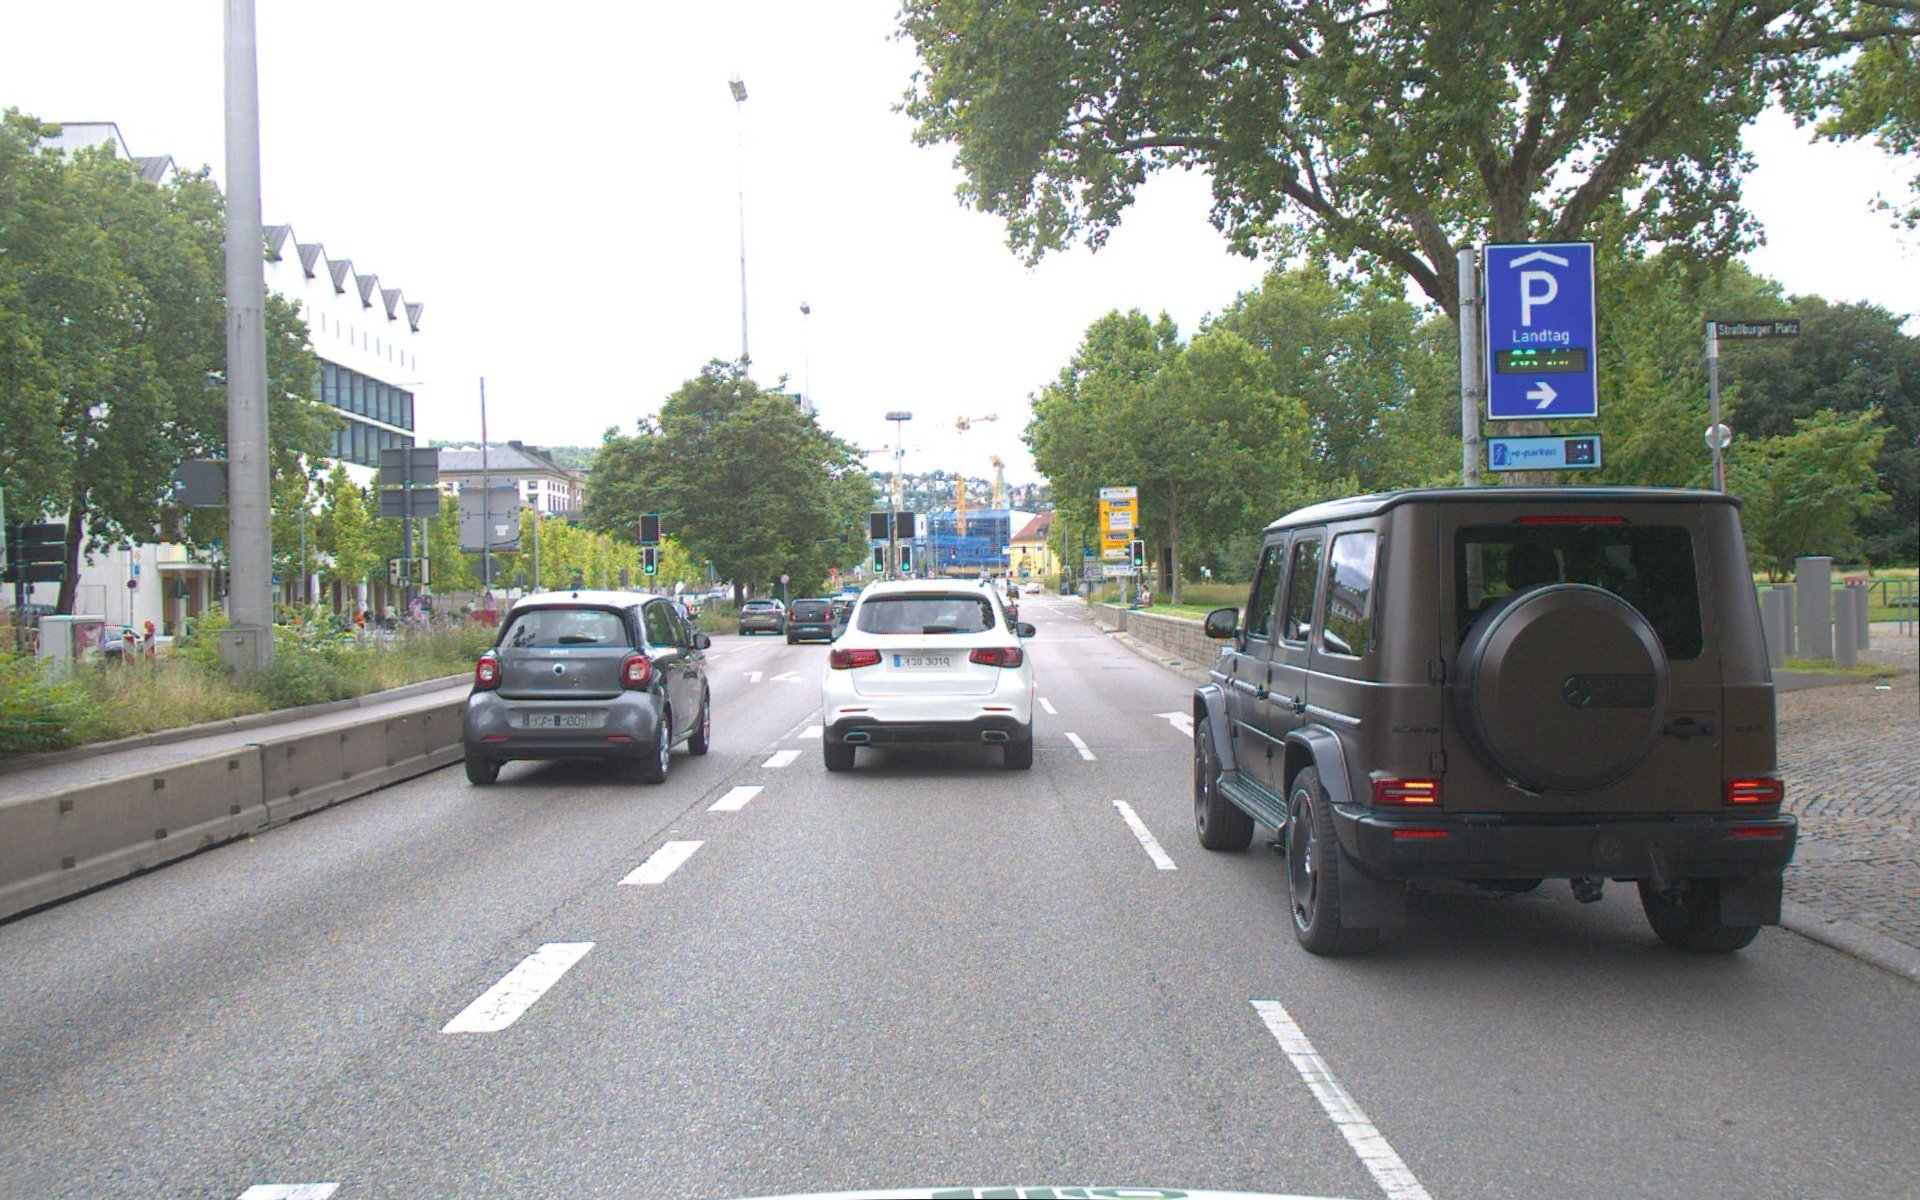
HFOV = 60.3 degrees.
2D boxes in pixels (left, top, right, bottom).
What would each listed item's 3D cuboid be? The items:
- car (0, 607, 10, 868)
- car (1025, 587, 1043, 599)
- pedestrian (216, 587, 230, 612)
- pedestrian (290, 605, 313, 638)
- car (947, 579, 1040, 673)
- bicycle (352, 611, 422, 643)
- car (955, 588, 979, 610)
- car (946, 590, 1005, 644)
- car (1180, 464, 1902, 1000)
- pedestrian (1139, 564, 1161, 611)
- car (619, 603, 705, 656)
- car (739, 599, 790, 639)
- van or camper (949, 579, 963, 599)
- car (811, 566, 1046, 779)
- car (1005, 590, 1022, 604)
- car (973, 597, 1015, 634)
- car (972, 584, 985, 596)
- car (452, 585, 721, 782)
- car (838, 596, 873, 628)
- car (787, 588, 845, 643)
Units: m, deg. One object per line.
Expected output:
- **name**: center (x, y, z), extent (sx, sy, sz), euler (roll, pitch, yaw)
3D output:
- **car**: center (-6.288, 0.754, 7.025), extent (1.775, 1.486, 4.861), euler (0, -1, -1)
- **car**: center (9.991, -0.944, 223.311), extent (1.955, 1.646, 3.996), euler (1, -1, -5)
- **pedestrian**: center (-41.100, -0.025, 92.268), extent (0.508, 1.350, 0.565), euler (-2, -2, 0)
- **pedestrian**: center (-32.613, 1.054, 81.858), extent (0.875, 1.584, 0.589), euler (-1, 0, -43)
- **car**: center (0.613, 0.507, 31.607), extent (1.638, 1.656, 4.000), euler (1, -1, 0)
- **bicycle**: center (-32.710, 1.539, 94.421), extent (3.540, 1.713, 1.182), euler (-2, 0, -2)
- **car**: center (0.576, -0.041, 138.798), extent (1.952, 1.787, 4.000), euler (1, -1, 1)
- **car**: center (0.453, 0.518, 52.839), extent (1.684, 1.612, 3.998), euler (1, 0, -2)
- **car**: center (2.444, 0.509, 8.395), extent (1.937, 1.926, 4.706), euler (1, -1, -1)
- **pedestrian**: center (6.901, -0.436, 60.132), extent (0.683, 1.685, 0.684), euler (1, -1, -1)
- **car**: center (-7.897, 0.763, 44.111), extent (1.684, 1.315, 3.998), euler (1, 0, -2)
- **car**: center (-8.141, 0.758, 68.972), extent (1.717, 1.580, 3.999), euler (1, 0, -1)
- **van or camper**: center (-0.550, -1.434, 217.320), extent (1.883, 2.360, 3.999), euler (0, -2, -1)
- **car**: center (-0.289, 0.615, 15.532), extent (1.901, 1.713, 3.999), euler (1, -1, -1)
- **car**: center (6.334, -0.379, 196.656), extent (1.684, 1.612, 3.998), euler (1, 0, -2)
- **car**: center (1.533, 0.692, 75.418), extent (1.684, 1.612, 3.998), euler (1, 0, -2)
- **car**: center (2.596, -1.380, 233.418), extent (1.684, 1.612, 3.998), euler (1, 0, -2)
- **car**: center (-3.162, 0.667, 14.648), extent (1.594, 1.535, 3.539), euler (0, -1, 0)
- **car**: center (-5.345, 0.594, 84.816), extent (1.685, 1.612, 3.997), euler (1, 0, -3)
- **car**: center (-4.724, 0.491, 54.709), extent (1.684, 1.708, 3.998), euler (1, 0, -2)
